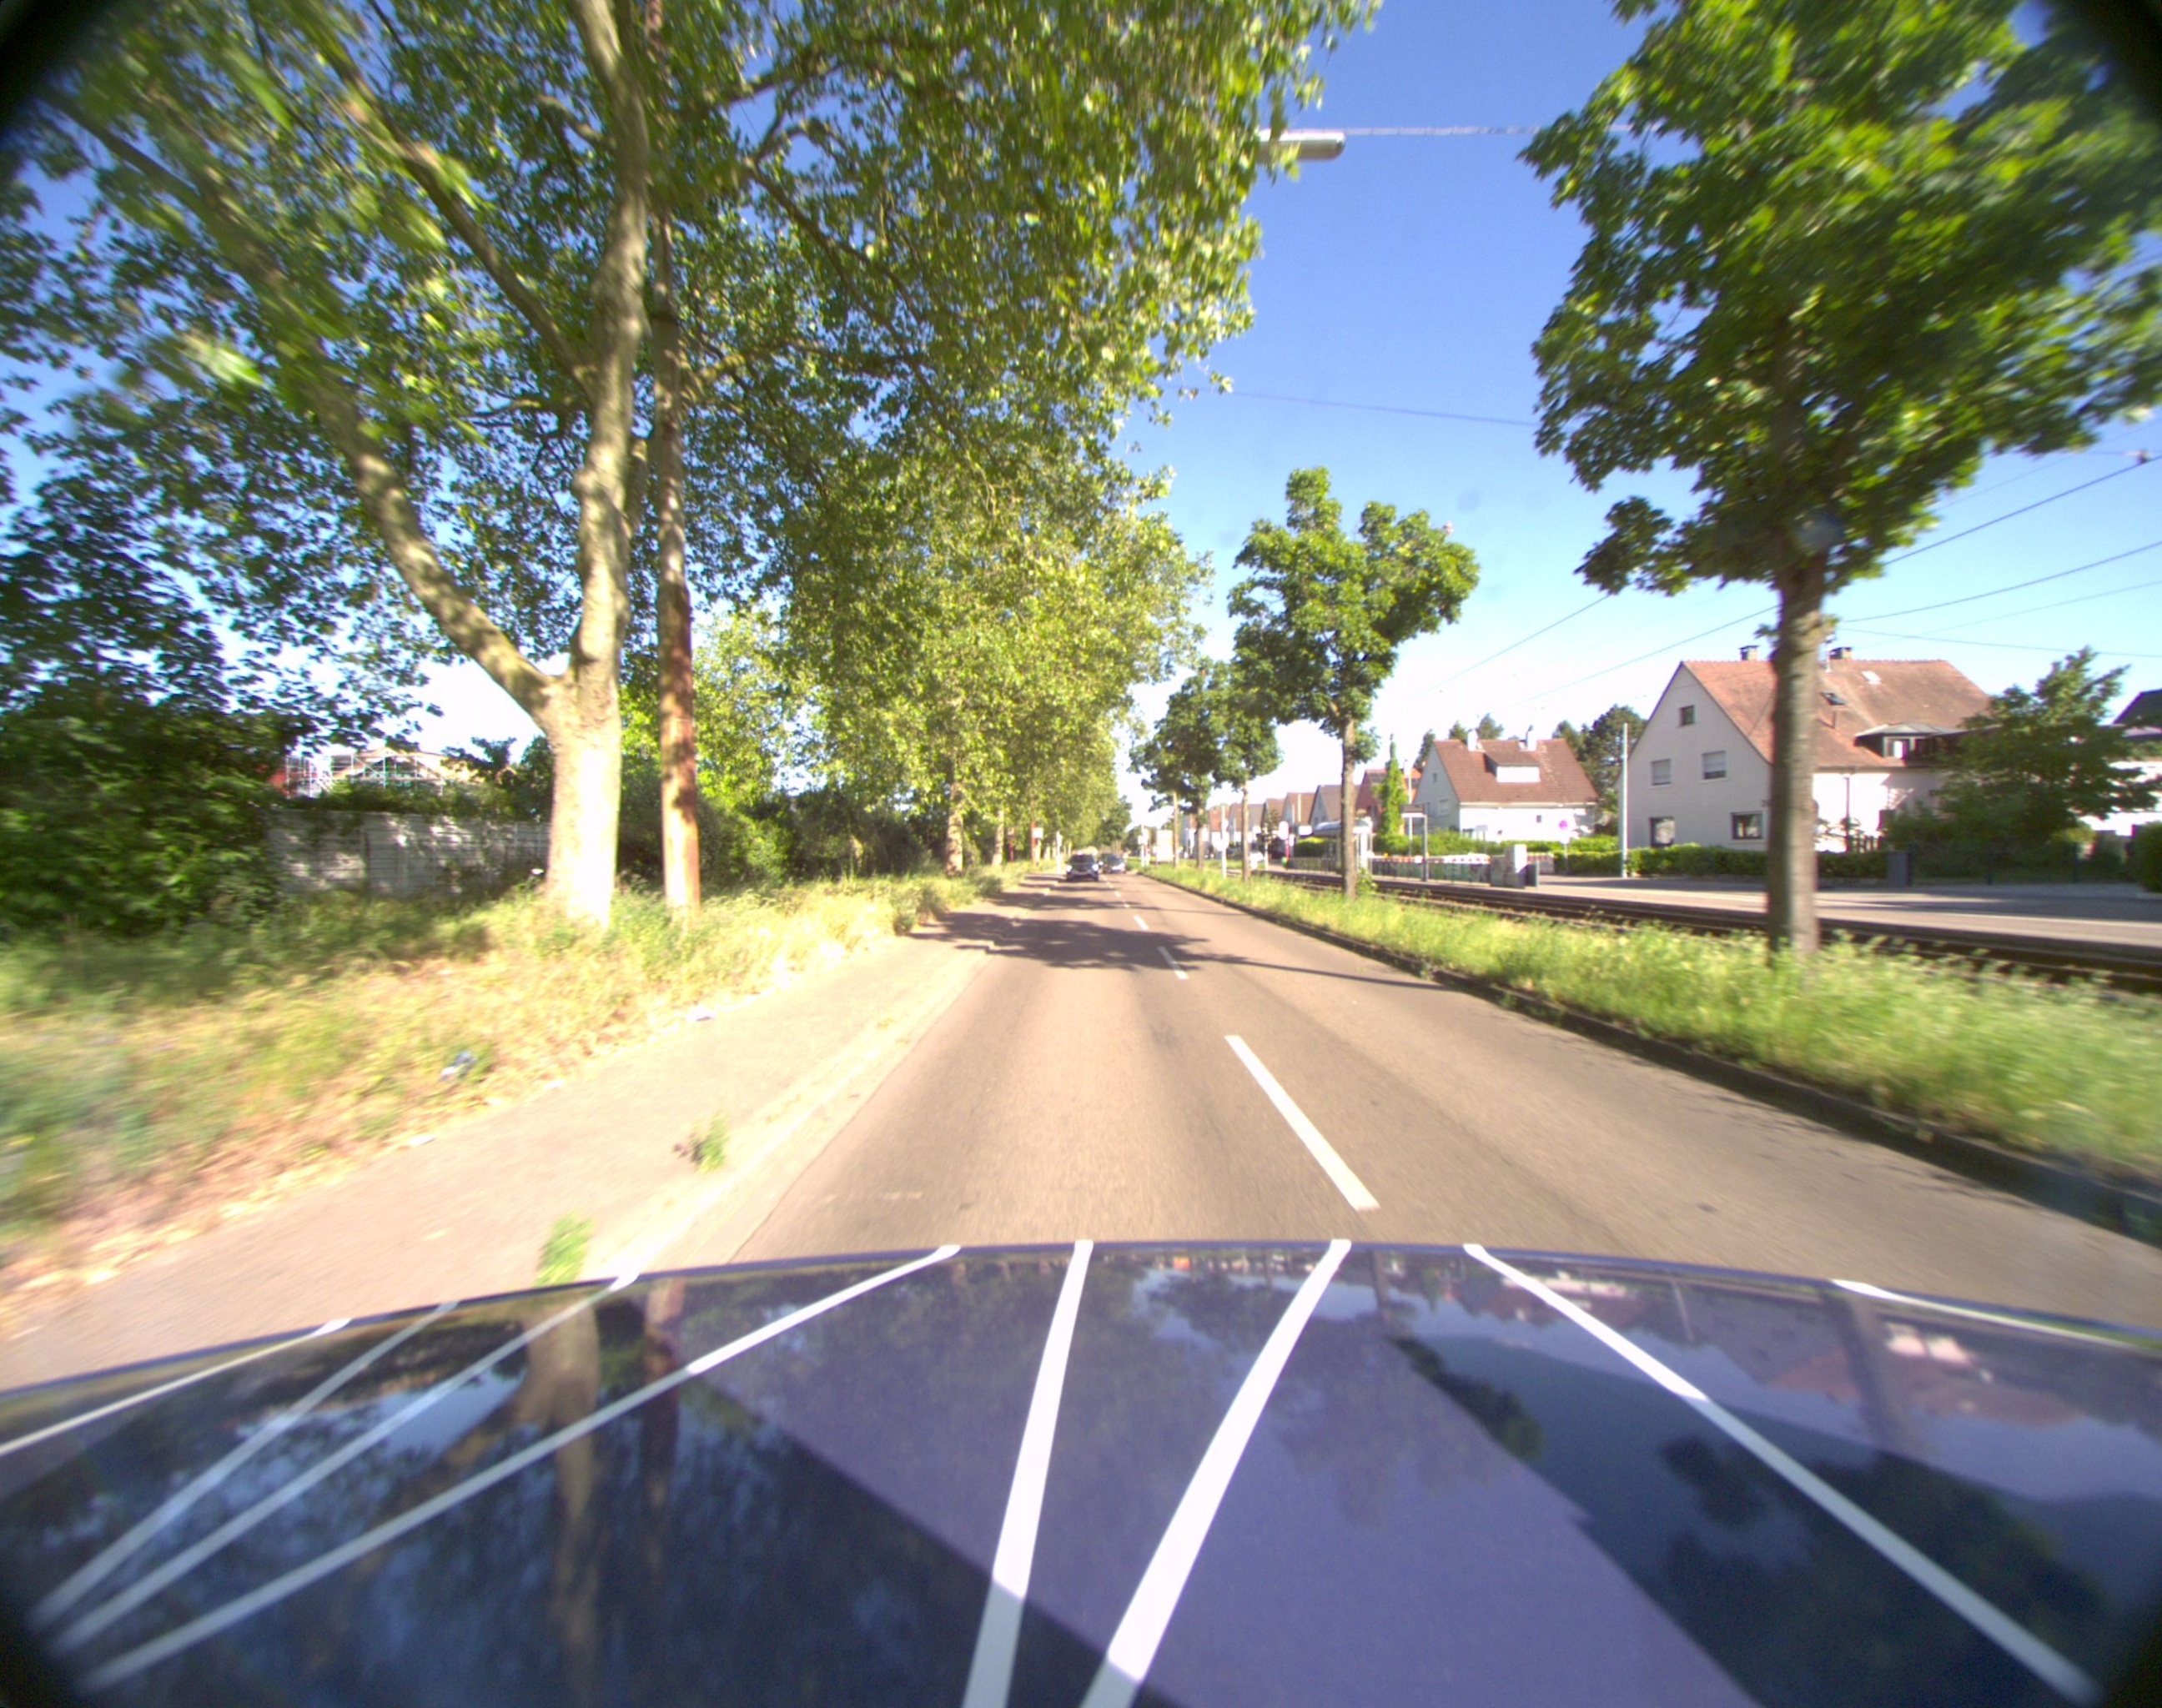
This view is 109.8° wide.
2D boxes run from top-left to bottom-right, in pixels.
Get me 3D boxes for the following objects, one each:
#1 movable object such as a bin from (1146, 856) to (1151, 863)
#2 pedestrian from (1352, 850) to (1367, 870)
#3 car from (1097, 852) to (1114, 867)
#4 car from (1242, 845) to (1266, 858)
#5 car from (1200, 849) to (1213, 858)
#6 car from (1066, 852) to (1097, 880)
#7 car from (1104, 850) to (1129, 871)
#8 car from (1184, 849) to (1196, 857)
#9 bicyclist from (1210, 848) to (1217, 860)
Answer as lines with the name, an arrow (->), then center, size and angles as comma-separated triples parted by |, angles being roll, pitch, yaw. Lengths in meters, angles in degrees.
movable object such as a bin -> 5.997, 0.463, 67.906 | 0.387, 0.579, 0.379 | -2, 1, 9
pedestrian -> 20.943, 0.450, 57.133 | 0.813, 1.525, 0.793 | -1, -1, -8
car -> 2.591, 0.552, 82.132 | 1.692, 1.499, 3.582 | -2, 1, 1
car -> 22.580, -0.336, 99.398 | 1.998, 1.668, 4.838 | -2, 1, 1
car -> 22.901, -0.086, 138.568 | 1.738, 1.481, 3.755 | -2, 1, 1
car -> 0.071, 0.641, 43.286 | 1.692, 1.499, 3.582 | 0, 1, 1
car -> 2.708, 0.483, 58.607 | 1.692, 1.499, 3.582 | -2, 1, 1
car -> 22.294, -0.214, 155.471 | 1.756, 1.373, 3.823 | -2, 1, 1
bicyclist -> 20.868, -0.055, 119.356 | 0.854, 1.876, 1.072 | -2, 1, 1
